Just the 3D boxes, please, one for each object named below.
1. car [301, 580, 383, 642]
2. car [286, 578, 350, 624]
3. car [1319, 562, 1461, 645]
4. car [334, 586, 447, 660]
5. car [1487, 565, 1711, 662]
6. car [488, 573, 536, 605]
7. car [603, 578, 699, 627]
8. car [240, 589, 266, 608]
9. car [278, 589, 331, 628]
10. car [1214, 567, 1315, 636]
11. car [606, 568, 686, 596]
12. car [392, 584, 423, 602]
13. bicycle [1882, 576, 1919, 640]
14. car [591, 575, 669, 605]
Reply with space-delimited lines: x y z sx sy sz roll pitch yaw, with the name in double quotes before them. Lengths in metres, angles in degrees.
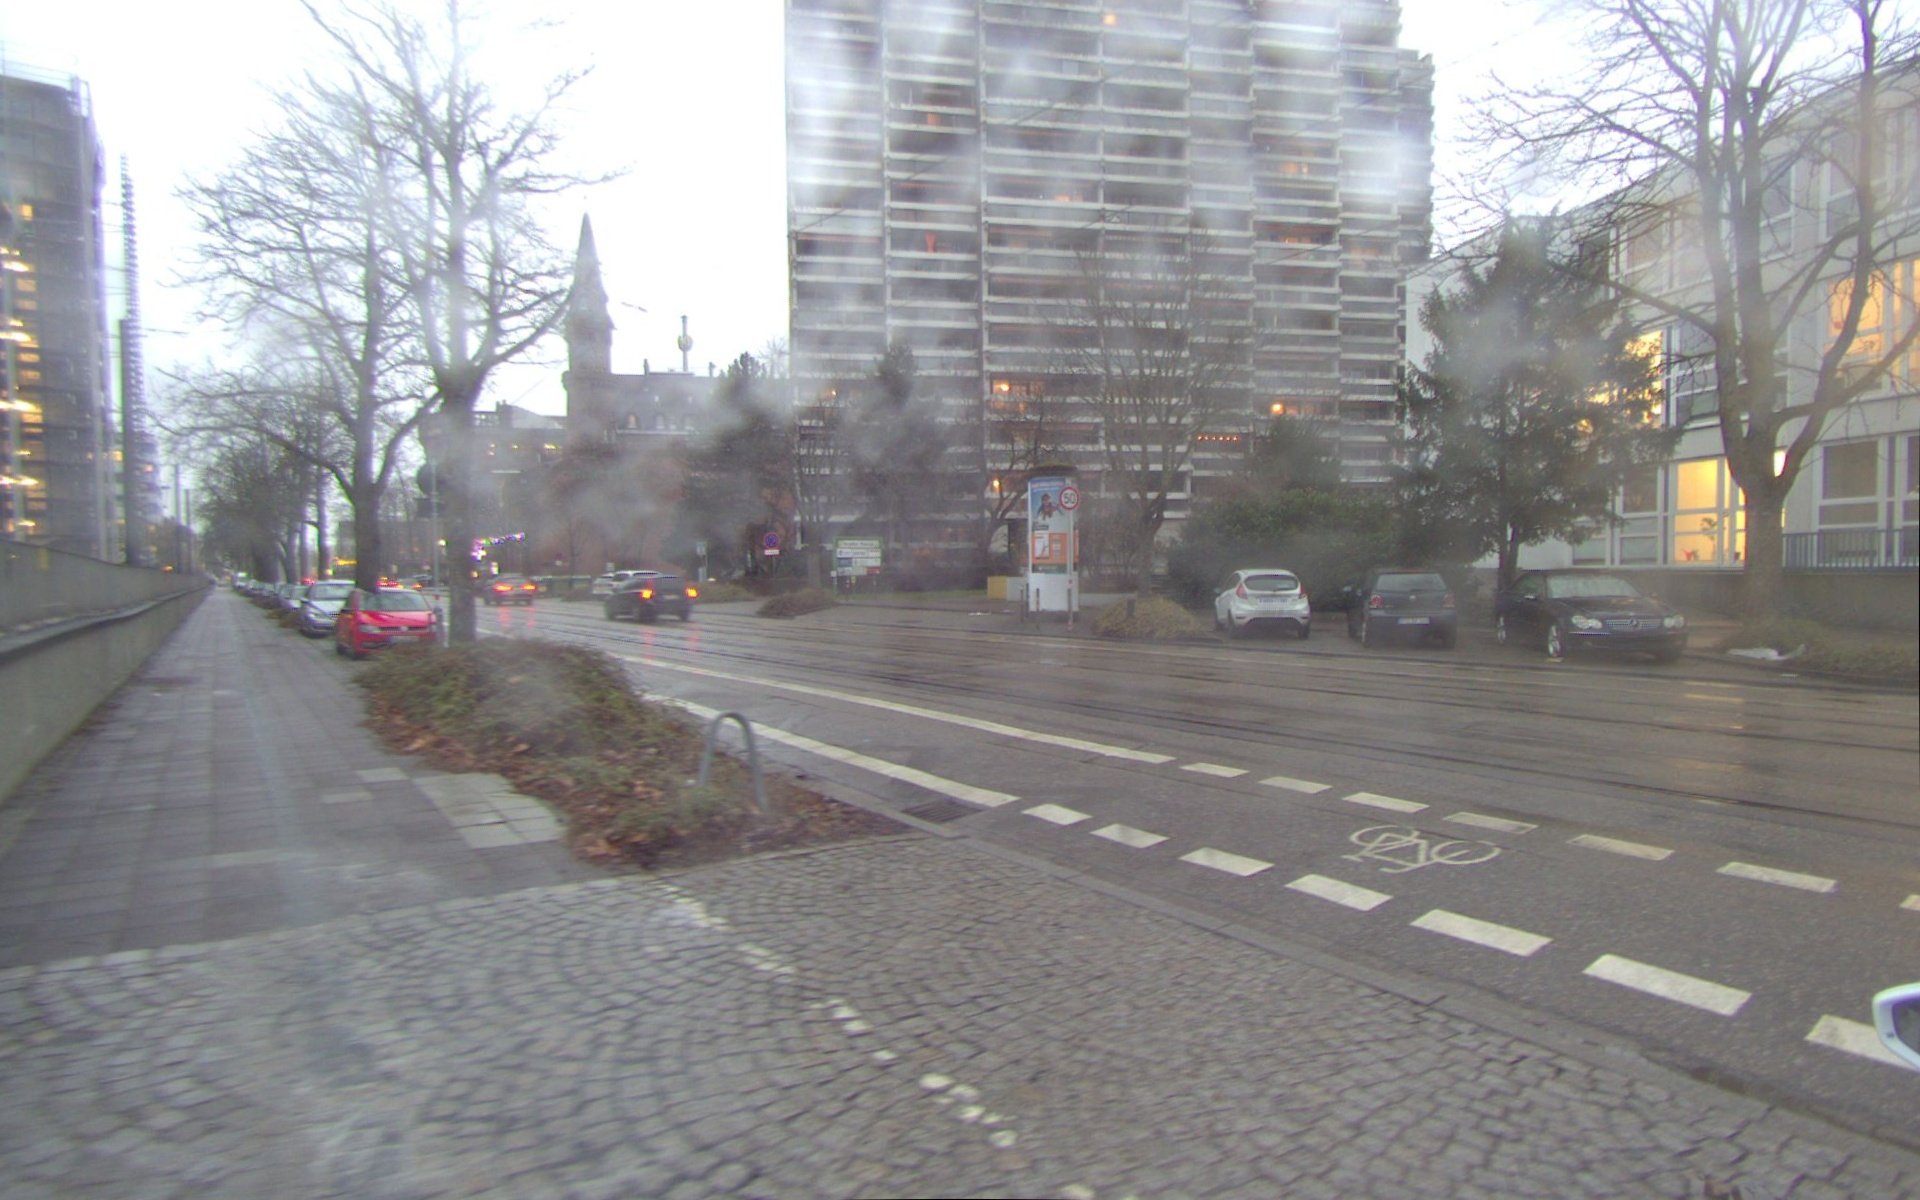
"car" -17.436 0.266 28.274 1.737 1.605 3.699 -1 1 -35
"car" -23.602 0.014 36.897 1.849 1.615 3.961 -1 1 -34
"car" 8.450 0.048 20.083 1.818 1.482 4.002 0 1 11
"car" -12.118 0.421 21.278 1.737 1.406 3.699 -1 1 -35
"car" 10.413 0.173 16.740 1.818 1.397 4.002 0 1 11
"car" -23.709 -0.568 53.122 1.694 1.600 4.340 -1 1 -33
"car" -10.523 0.053 34.057 1.737 1.565 4.249 -1 1 -38
"car" -60.668 -0.133 86.270 1.737 1.605 3.699 -1 1 -35
"car" -28.751 0.325 44.018 1.849 1.615 3.961 -1 1 -34
"car" 6.829 0.008 22.852 1.818 1.418 4.002 0 1 11
"car" -17.348 -0.988 55.587 3.954 1.506 1.658 -1 1 -31
"car" -45.139 -0.607 81.994 1.750 1.430 3.959 -1 1 -36
"bicycle" 18.226 0.127 18.580 2.168 1.136 0.640 -1 1 -15
"car" -19.012 -0.565 57.937 3.954 1.662 1.983 -1 1 -31
